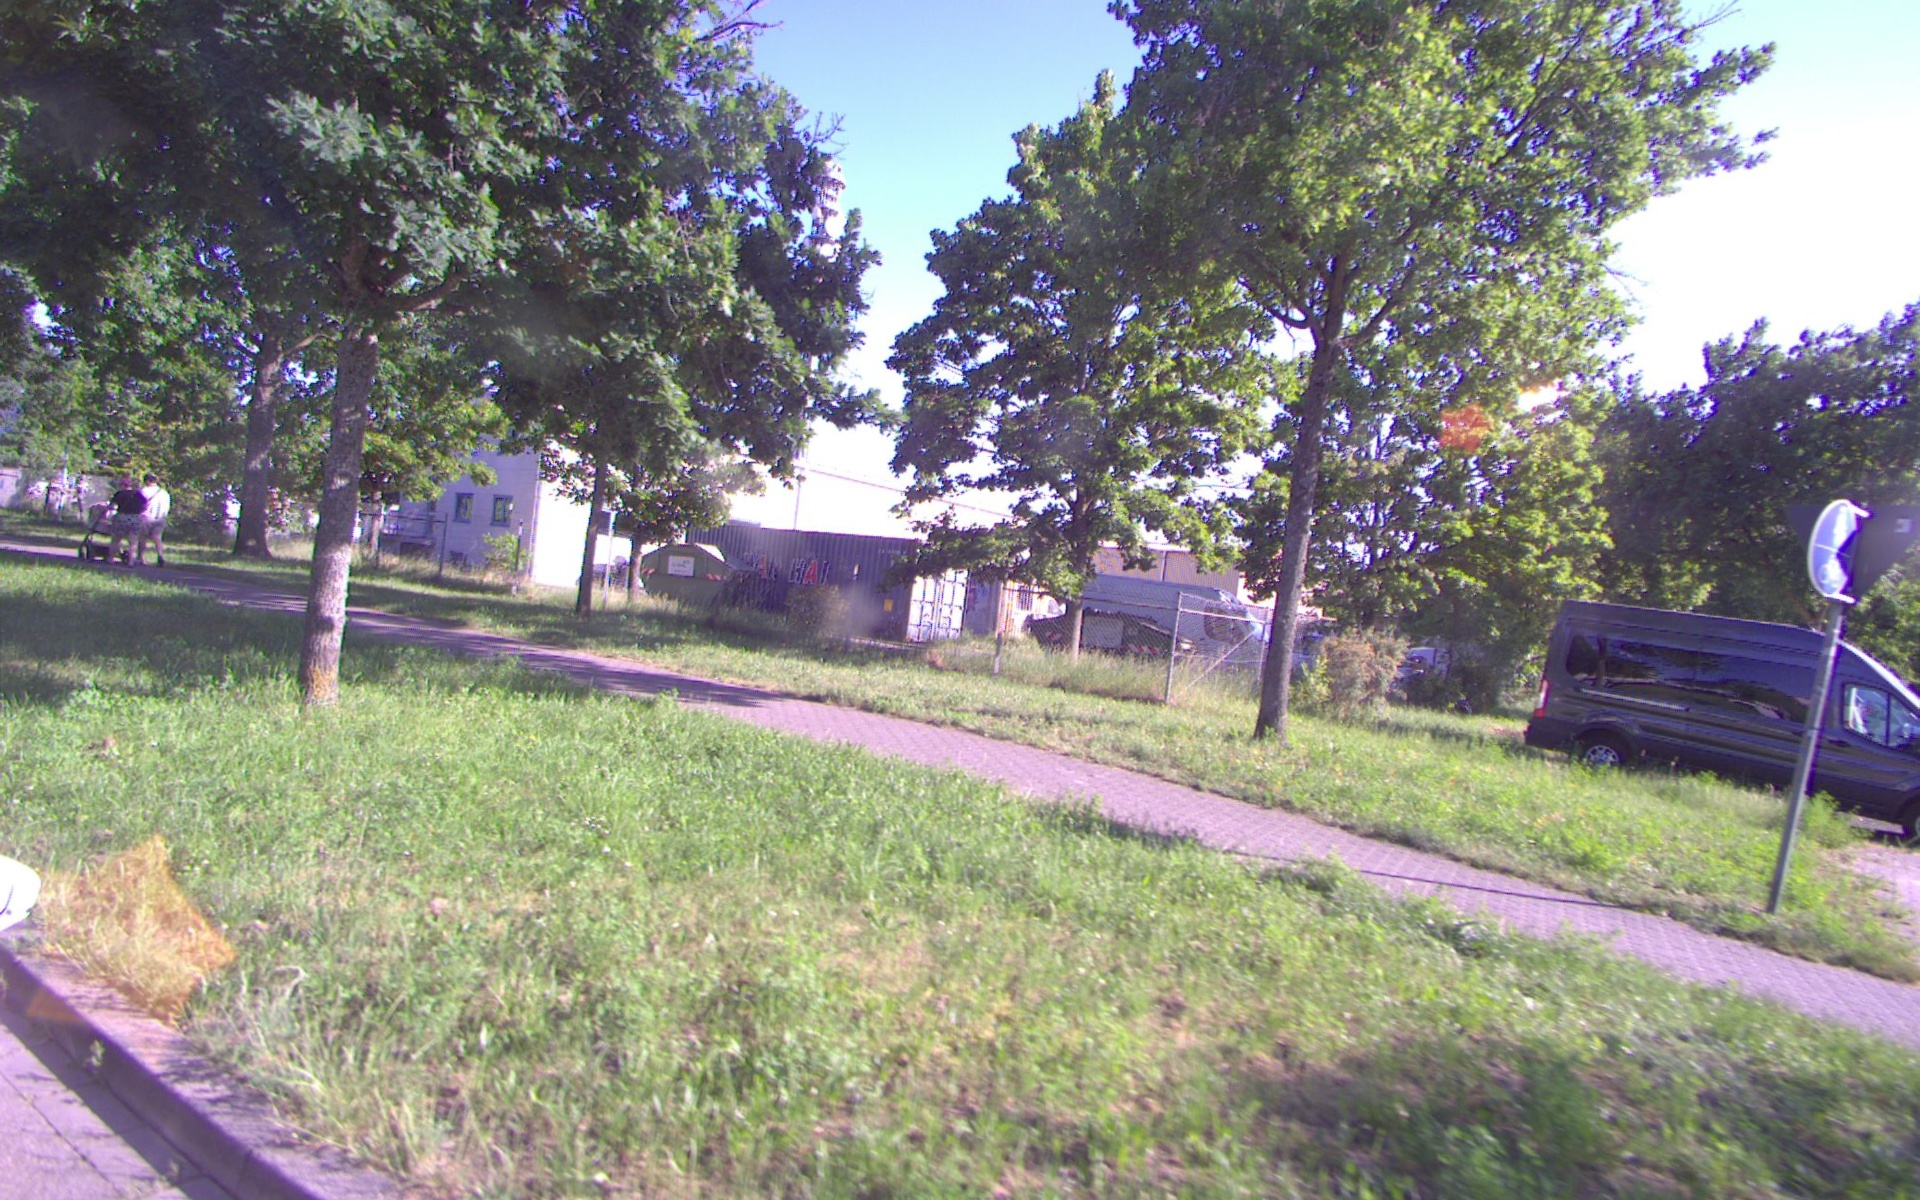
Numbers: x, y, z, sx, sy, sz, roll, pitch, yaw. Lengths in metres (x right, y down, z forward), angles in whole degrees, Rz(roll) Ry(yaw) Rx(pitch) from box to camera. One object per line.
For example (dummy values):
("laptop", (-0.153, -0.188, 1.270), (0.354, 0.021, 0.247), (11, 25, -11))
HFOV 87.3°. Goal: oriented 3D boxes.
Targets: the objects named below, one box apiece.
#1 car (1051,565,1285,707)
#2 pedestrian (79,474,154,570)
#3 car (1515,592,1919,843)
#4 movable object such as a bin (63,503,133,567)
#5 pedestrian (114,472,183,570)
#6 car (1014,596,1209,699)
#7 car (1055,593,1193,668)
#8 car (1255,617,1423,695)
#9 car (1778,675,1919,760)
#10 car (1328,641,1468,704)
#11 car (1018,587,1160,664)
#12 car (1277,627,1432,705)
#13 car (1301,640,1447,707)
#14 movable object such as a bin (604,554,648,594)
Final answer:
("car", (4.910, 0.801, 23.936), (4.770, 2.677, 2.162), (7, 1, 32))
("pedestrian", (-15.492, -1.420, 18.478), (0.853, 1.623, 0.726), (7, 2, 31))
("car", (11.775, 1.663, 14.602), (5.889, 2.598, 2.081), (11, 2, 43))
("movable object such as a bin", (-16.245, -1.221, 18.956), (0.853, 1.095, 0.726), (7, 3, 31))
("pedestrian", (-15.738, -1.528, 19.511), (0.853, 1.779, 0.726), (7, 3, 31))
("car", (3.281, 1.007, 21.821), (3.537, 1.685, 2.007), (7, 1, 31))
("car", (6.542, 1.186, 40.604), (4.943, 2.087, 2.081), (11, 2, 43))
("car", (10.705, 1.549, 28.634), (1.825, 1.660, 3.958), (6, 1, -38))
("car", (39.204, 5.124, 43.537), (5.601, 2.945, 2.332), (6, -2, 41))
("car", (15.174, 2.500, 34.932), (3.941, 1.612, 1.991), (7, 1, 39))
("car", (4.908, 0.950, 38.817), (4.943, 2.087, 2.081), (11, 2, 43))
("car", (12.264, 2.044, 31.384), (3.941, 1.846, 1.991), (7, 1, 39))
("car", (13.618, 2.397, 33.179), (3.941, 1.612, 1.991), (7, 1, 39))
("movable object such as a bin", (-13.115, -1.020, 39.488), (1.180, 1.424, 1.046), (6, 1, -42))
